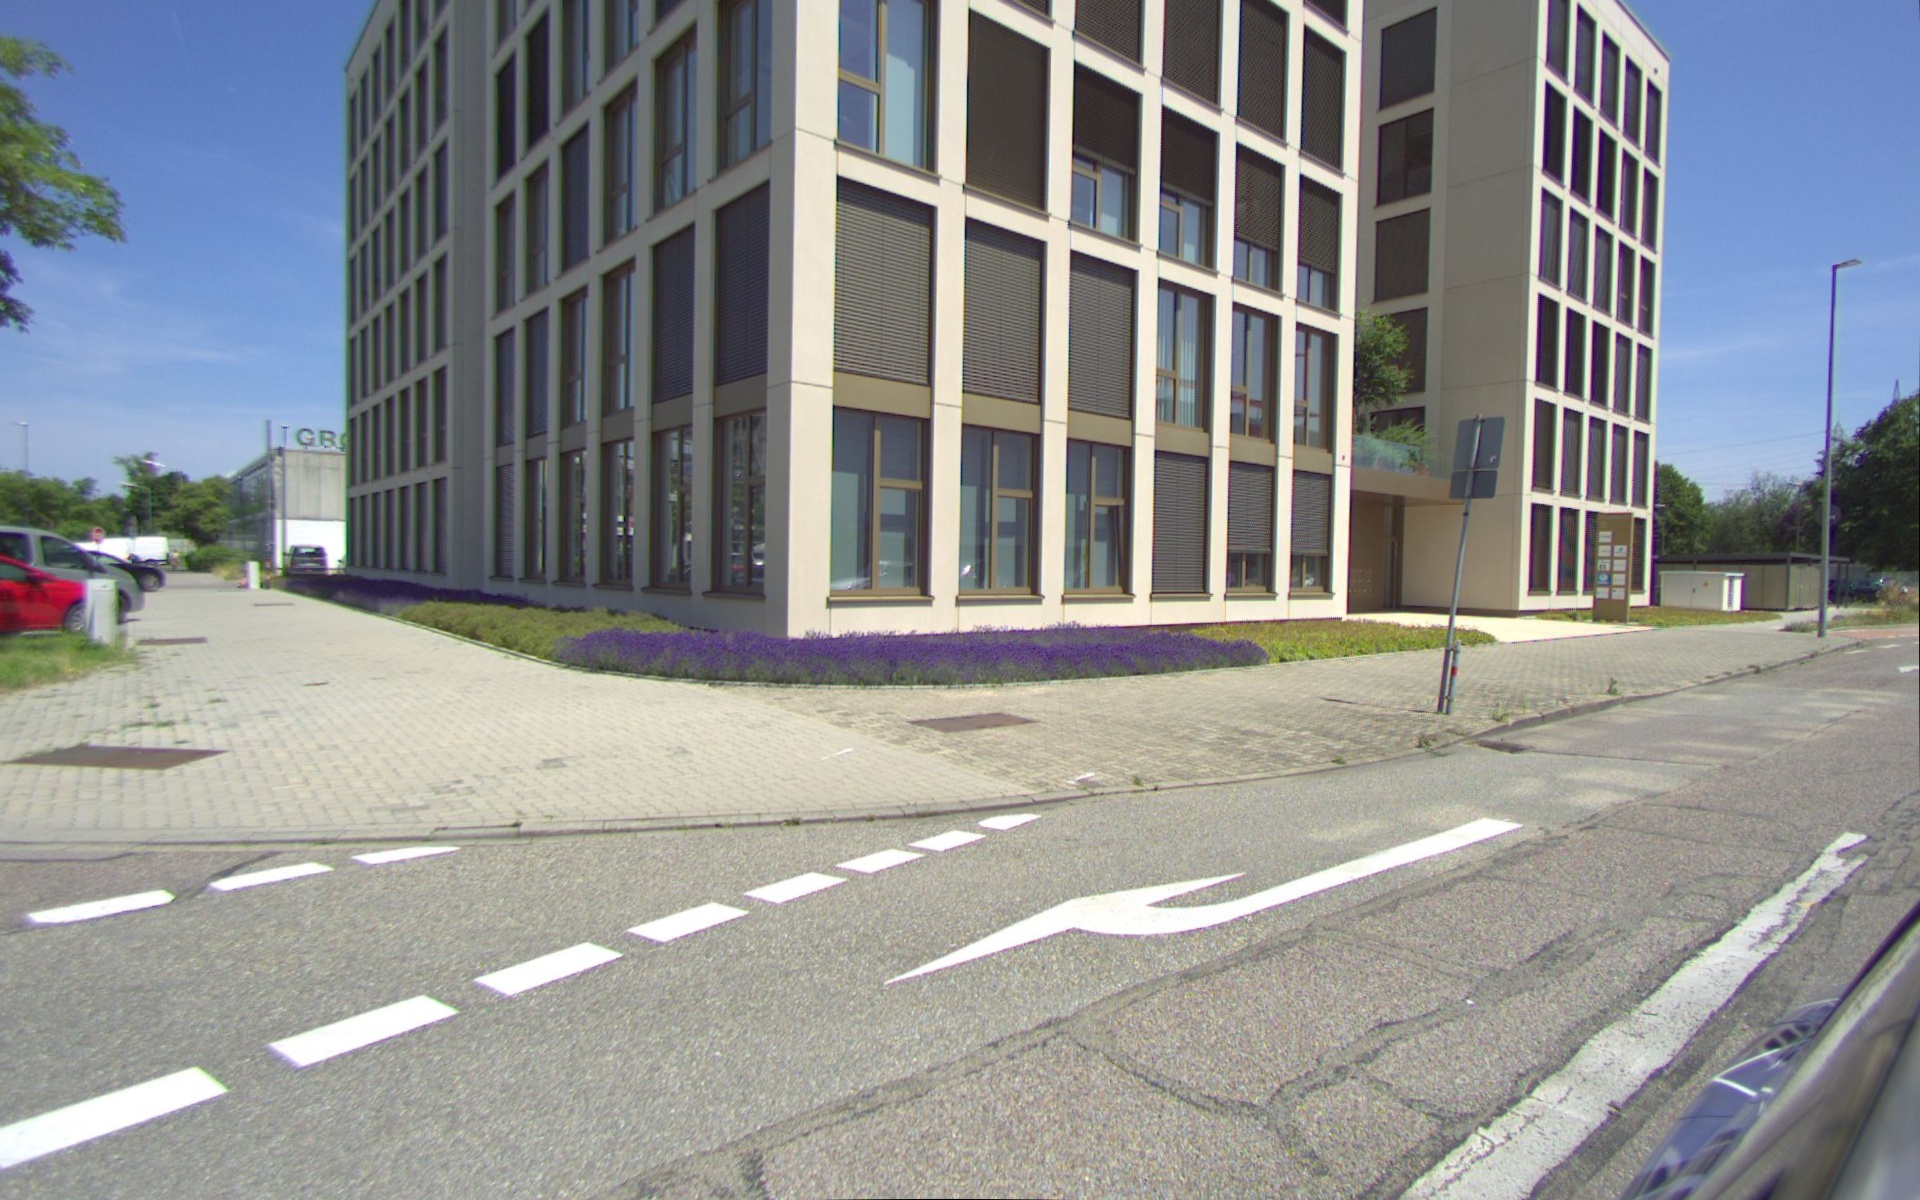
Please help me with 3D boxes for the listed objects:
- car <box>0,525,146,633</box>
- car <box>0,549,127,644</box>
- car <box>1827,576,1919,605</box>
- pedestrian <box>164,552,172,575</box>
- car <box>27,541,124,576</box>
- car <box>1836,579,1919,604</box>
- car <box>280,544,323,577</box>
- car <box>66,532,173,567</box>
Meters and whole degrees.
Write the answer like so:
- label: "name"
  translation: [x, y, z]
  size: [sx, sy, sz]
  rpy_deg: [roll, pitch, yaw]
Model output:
- label: "car"
  translation: [-17.895, -0.401, 18.468]
  size: [1.886, 1.910, 4.927]
  rpy_deg: [1, 1, 5]
- label: "car"
  translation: [-15.485, -0.061, 15.577]
  size: [1.672, 1.449, 3.990]
  rpy_deg: [1, 3, 10]
- label: "car"
  translation: [53.626, -0.578, 59.549]
  size: [3.810, 1.571, 1.716]
  rpy_deg: [2, 2, 36]
- label: "pedestrian"
  translation: [-54.684, -2.525, 69.861]
  size: [0.397, 1.579, 0.549]
  rpy_deg: [0, 2, -39]
- label: "car"
  translation: [-55.164, -2.549, 63.227]
  size: [4.495, 2.039, 1.997]
  rpy_deg: [-1, 0, -40]
- label: "car"
  translation: [55.244, -0.523, 60.778]
  size: [3.810, 1.411, 1.716]
  rpy_deg: [2, 2, 36]
- label: "car"
  translation: [-38.071, -2.233, 58.467]
  size: [1.763, 1.749, 3.997]
  rpy_deg: [0, 0, -38]
- label: "car"
  translation: [-67.677, -4.033, 81.652]
  size: [6.573, 2.552, 2.217]
  rpy_deg: [-1, 0, -38]
